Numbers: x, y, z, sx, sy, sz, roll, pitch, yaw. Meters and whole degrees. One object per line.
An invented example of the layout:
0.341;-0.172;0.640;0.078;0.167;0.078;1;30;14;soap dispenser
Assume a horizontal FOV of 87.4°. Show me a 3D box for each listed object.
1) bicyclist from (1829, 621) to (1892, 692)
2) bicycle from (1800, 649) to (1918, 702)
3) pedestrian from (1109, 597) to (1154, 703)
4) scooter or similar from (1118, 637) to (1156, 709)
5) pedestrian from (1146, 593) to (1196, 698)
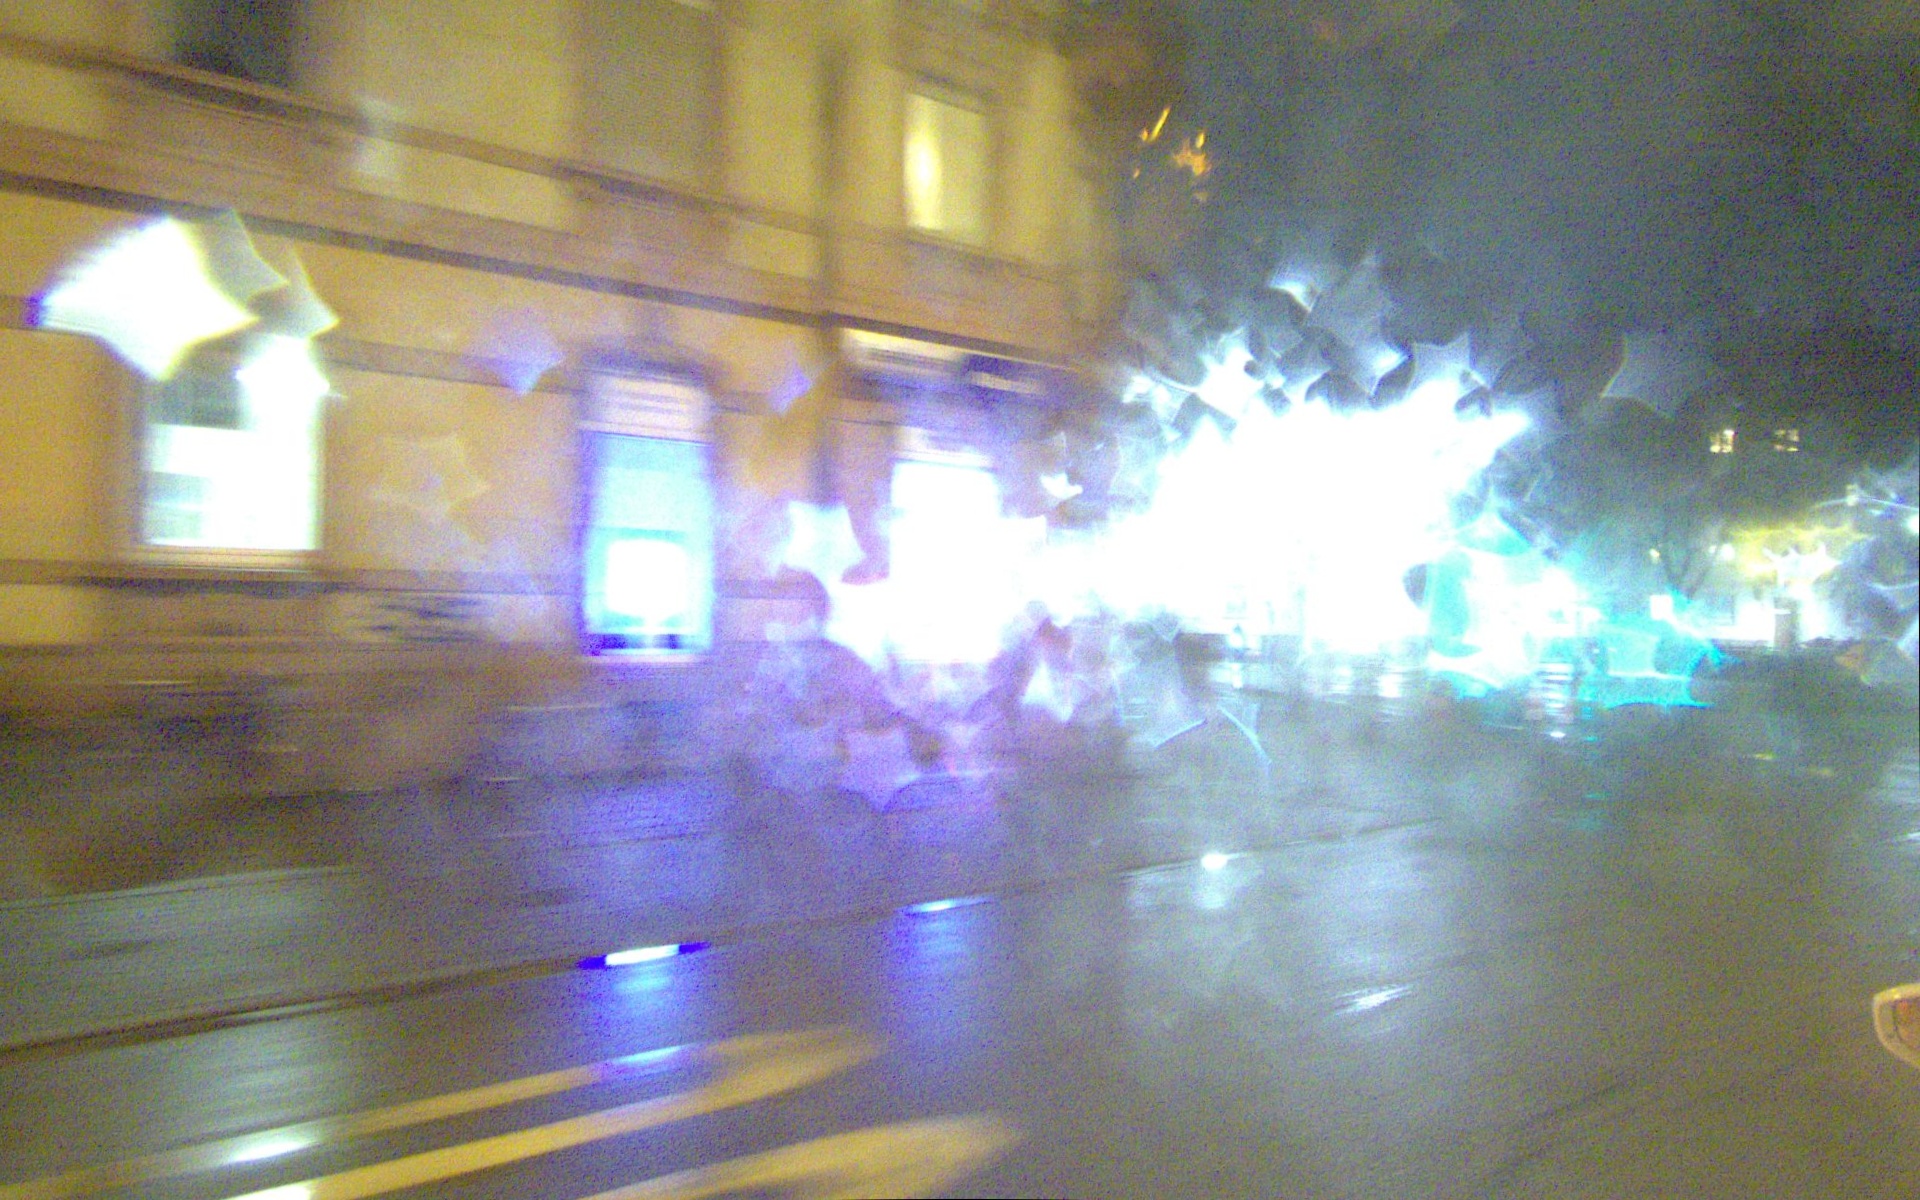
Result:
18.679;1.160;20.847;0.880;1.398;0.503;3;1;37;bicyclist
18.637;1.549;20.875;1.755;0.944;0.498;3;1;37;bicycle
3.109;0.879;18.274;0.680;1.845;0.947;2;1;6;pedestrian
3.042;1.238;17.330;0.560;1.141;0.933;2;1;7;scooter or similar
3.844;0.802;18.354;0.680;1.845;0.947;2;1;1;pedestrian
